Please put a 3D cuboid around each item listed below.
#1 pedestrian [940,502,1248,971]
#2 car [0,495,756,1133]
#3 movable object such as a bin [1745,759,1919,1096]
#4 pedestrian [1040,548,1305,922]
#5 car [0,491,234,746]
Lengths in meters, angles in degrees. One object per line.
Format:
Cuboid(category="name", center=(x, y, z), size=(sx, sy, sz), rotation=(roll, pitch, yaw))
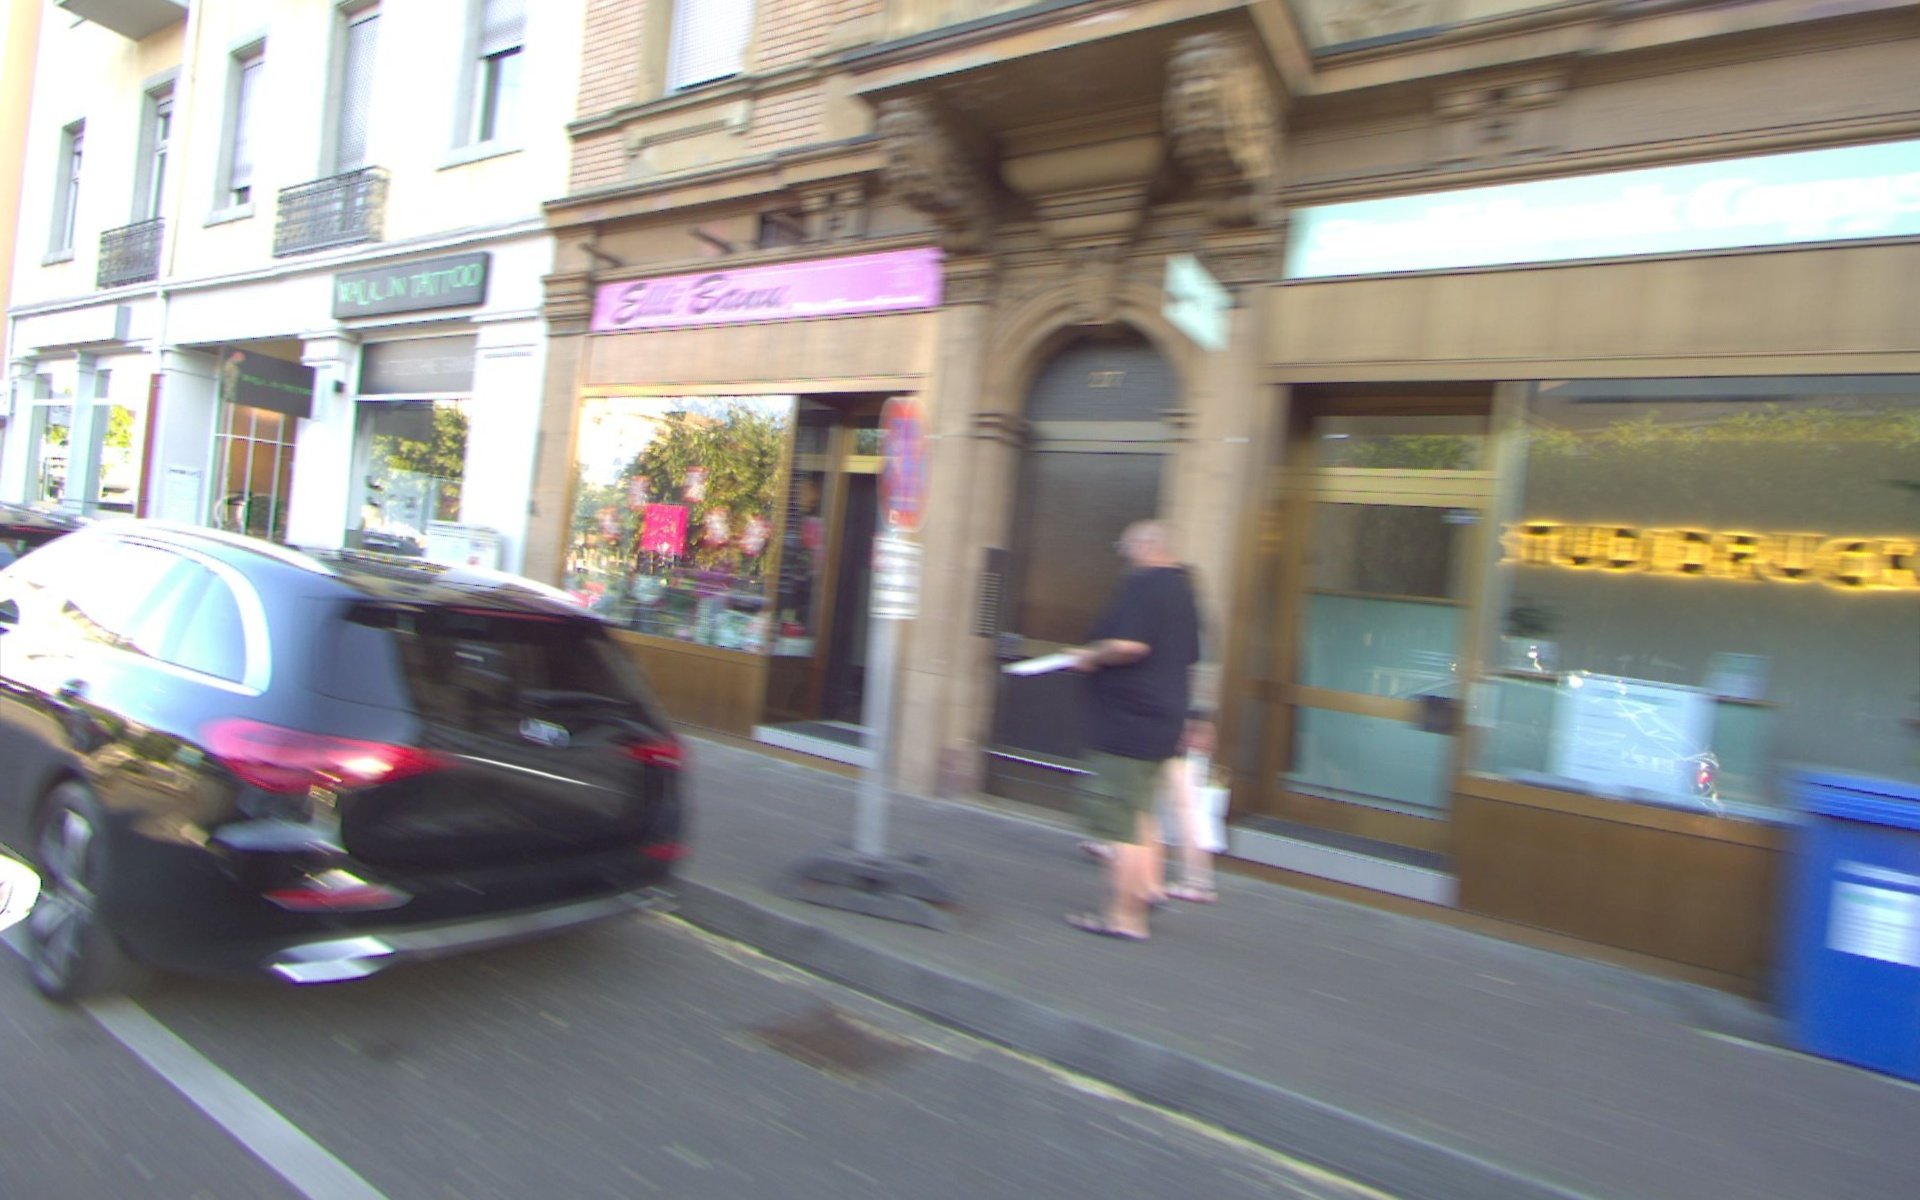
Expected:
Cuboid(category="pedestrian", center=(0.619, 0.546, 4.617), size=(0.994, 1.851, 0.773), rotation=(7, 2, 31))
Cuboid(category="car", center=(-3.185, 0.434, 4.320), size=(4.450, 1.465, 1.733), rotation=(6, -2, 33))
Cuboid(category="movable object such as a bin", center=(3.642, 1.264, 4.014), size=(0.607, 1.084, 0.774), rotation=(7, 2, 31))
Cuboid(category="pedestrian", center=(1.144, 0.653, 5.406), size=(1.024, 1.734, 0.773), rotation=(7, 2, 31))
Cuboid(category="car", center=(-7.260, -0.049, 7.198), size=(4.401, 1.465, 1.733), rotation=(6, -2, 33))
